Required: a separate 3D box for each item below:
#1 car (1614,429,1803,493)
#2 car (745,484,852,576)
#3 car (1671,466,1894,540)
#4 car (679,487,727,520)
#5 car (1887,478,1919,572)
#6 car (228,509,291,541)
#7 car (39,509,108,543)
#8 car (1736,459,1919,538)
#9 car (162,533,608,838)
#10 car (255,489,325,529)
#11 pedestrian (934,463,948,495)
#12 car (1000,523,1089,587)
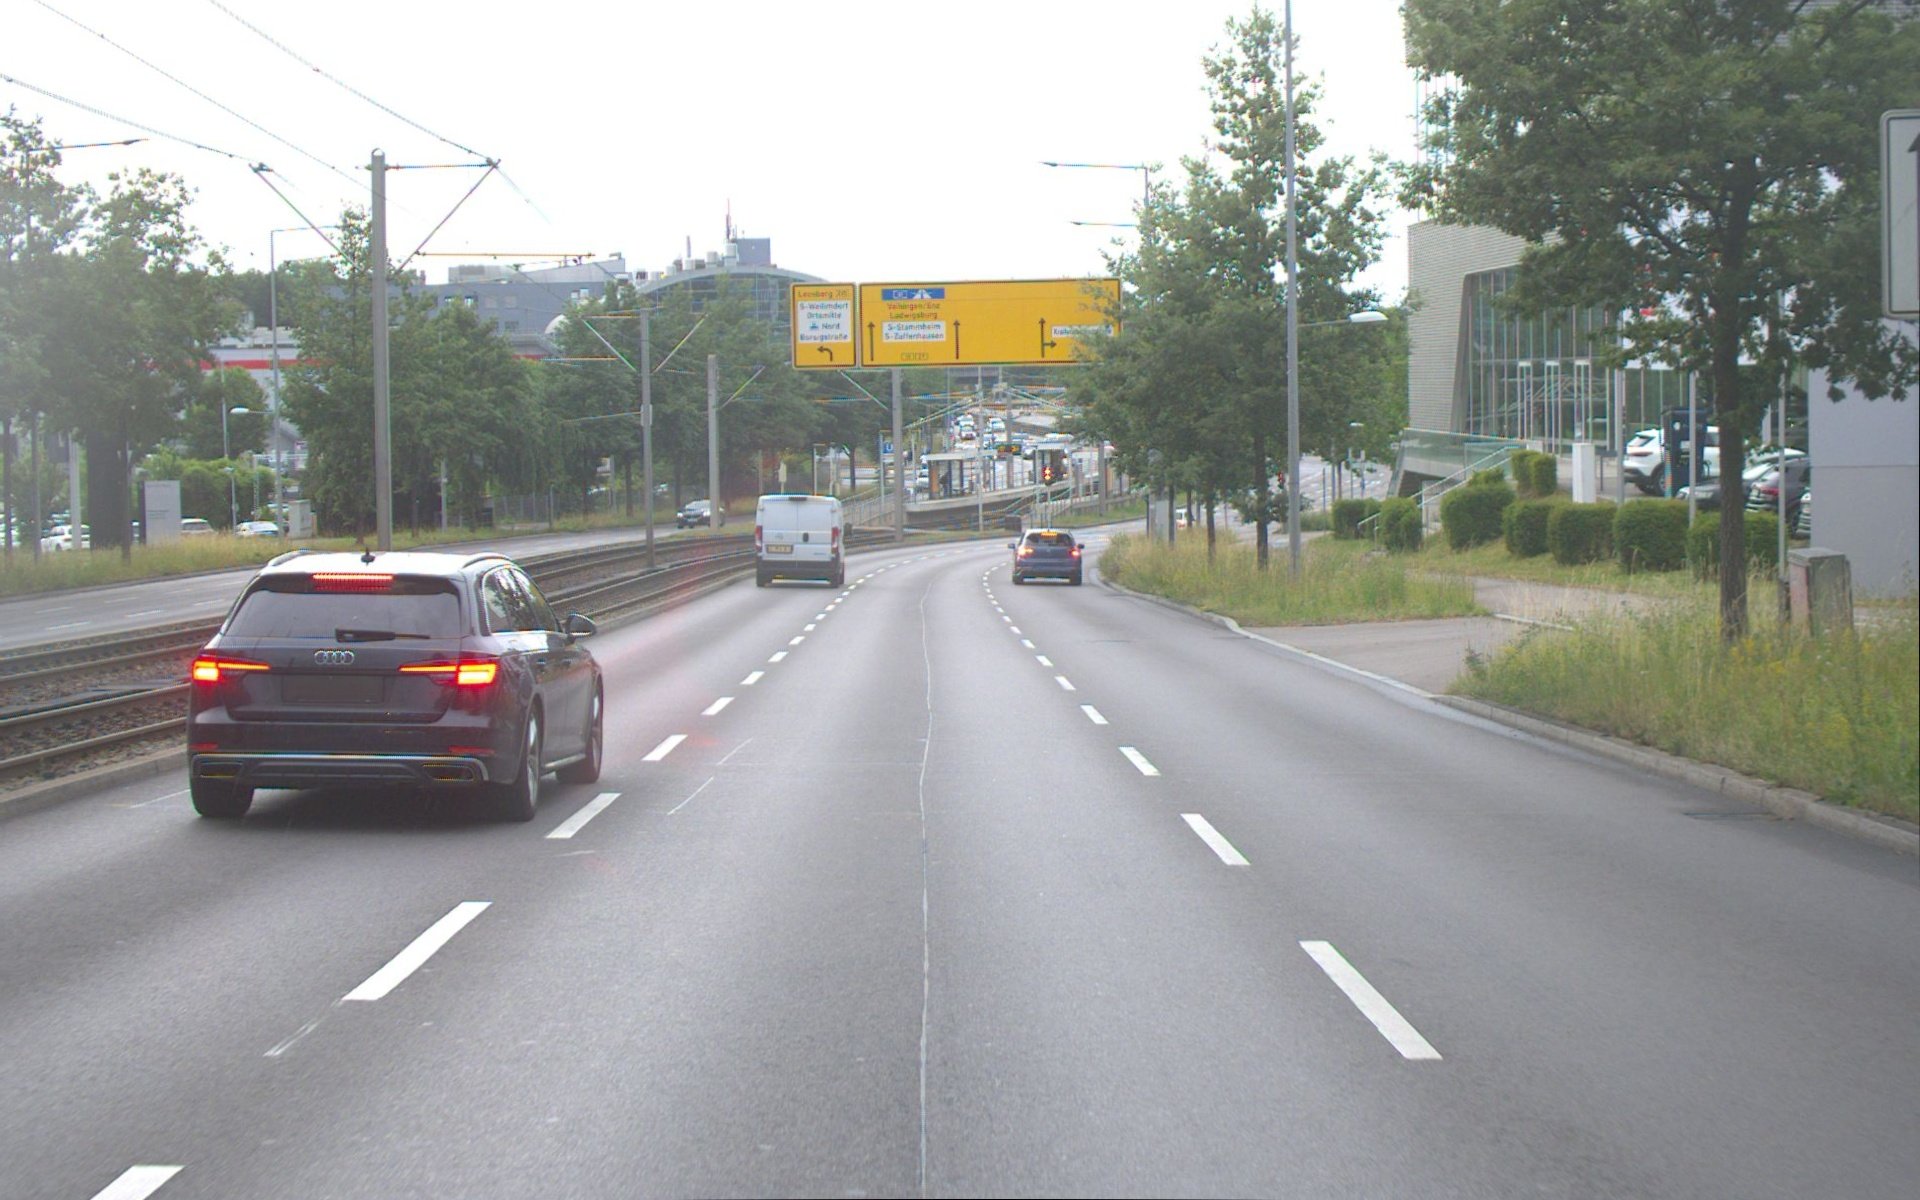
[{"bbox_3d":[18.506,-3.435,85.104,4.259,1.568,1.693,0,2,-1],"label":"car"},{"bbox_3d":[-4.001,-1.707,85.012,2.511,2.169,5.150,1,1,-3],"label":"car"},{"bbox_3d":[17.884,-2.123,74.894,4.420,1.568,1.693,0,2,-1],"label":"car"},{"bbox_3d":[-12.924,-4.856,173.006,1.883,1.515,4.403,-3,2,2],"label":"car"},{"bbox_3d":[18.343,-1.290,58.750,4.519,1.588,1.693,-1,1,-1],"label":"car"},{"bbox_3d":[-33.455,-3.583,164.165,1.993,1.505,4.001,1,1,-26],"label":"car"},{"bbox_3d":[-41.498,-3.469,160.831,1.993,1.505,4.000,1,1,-32],"label":"car"},{"bbox_3d":[17.955,-2.055,69.539,4.105,1.568,1.693,0,2,-1],"label":"car"},{"bbox_3d":[-3.099,0.379,19.423,1.764,1.458,4.627,1,1,-1],"label":"car"},{"bbox_3d":[-29.044,-3.936,149.126,1.994,1.645,3.999,1,1,4],"label":"car"},{"bbox_3d":[-1.090,-7.084,201.002,0.637,1.848,0.750,1,1,11],"label":"pedestrian"},{"bbox_3d":[2.194,-1.192,90.561,2.021,1.617,4.001,1,1,-3],"label":"car"}]
